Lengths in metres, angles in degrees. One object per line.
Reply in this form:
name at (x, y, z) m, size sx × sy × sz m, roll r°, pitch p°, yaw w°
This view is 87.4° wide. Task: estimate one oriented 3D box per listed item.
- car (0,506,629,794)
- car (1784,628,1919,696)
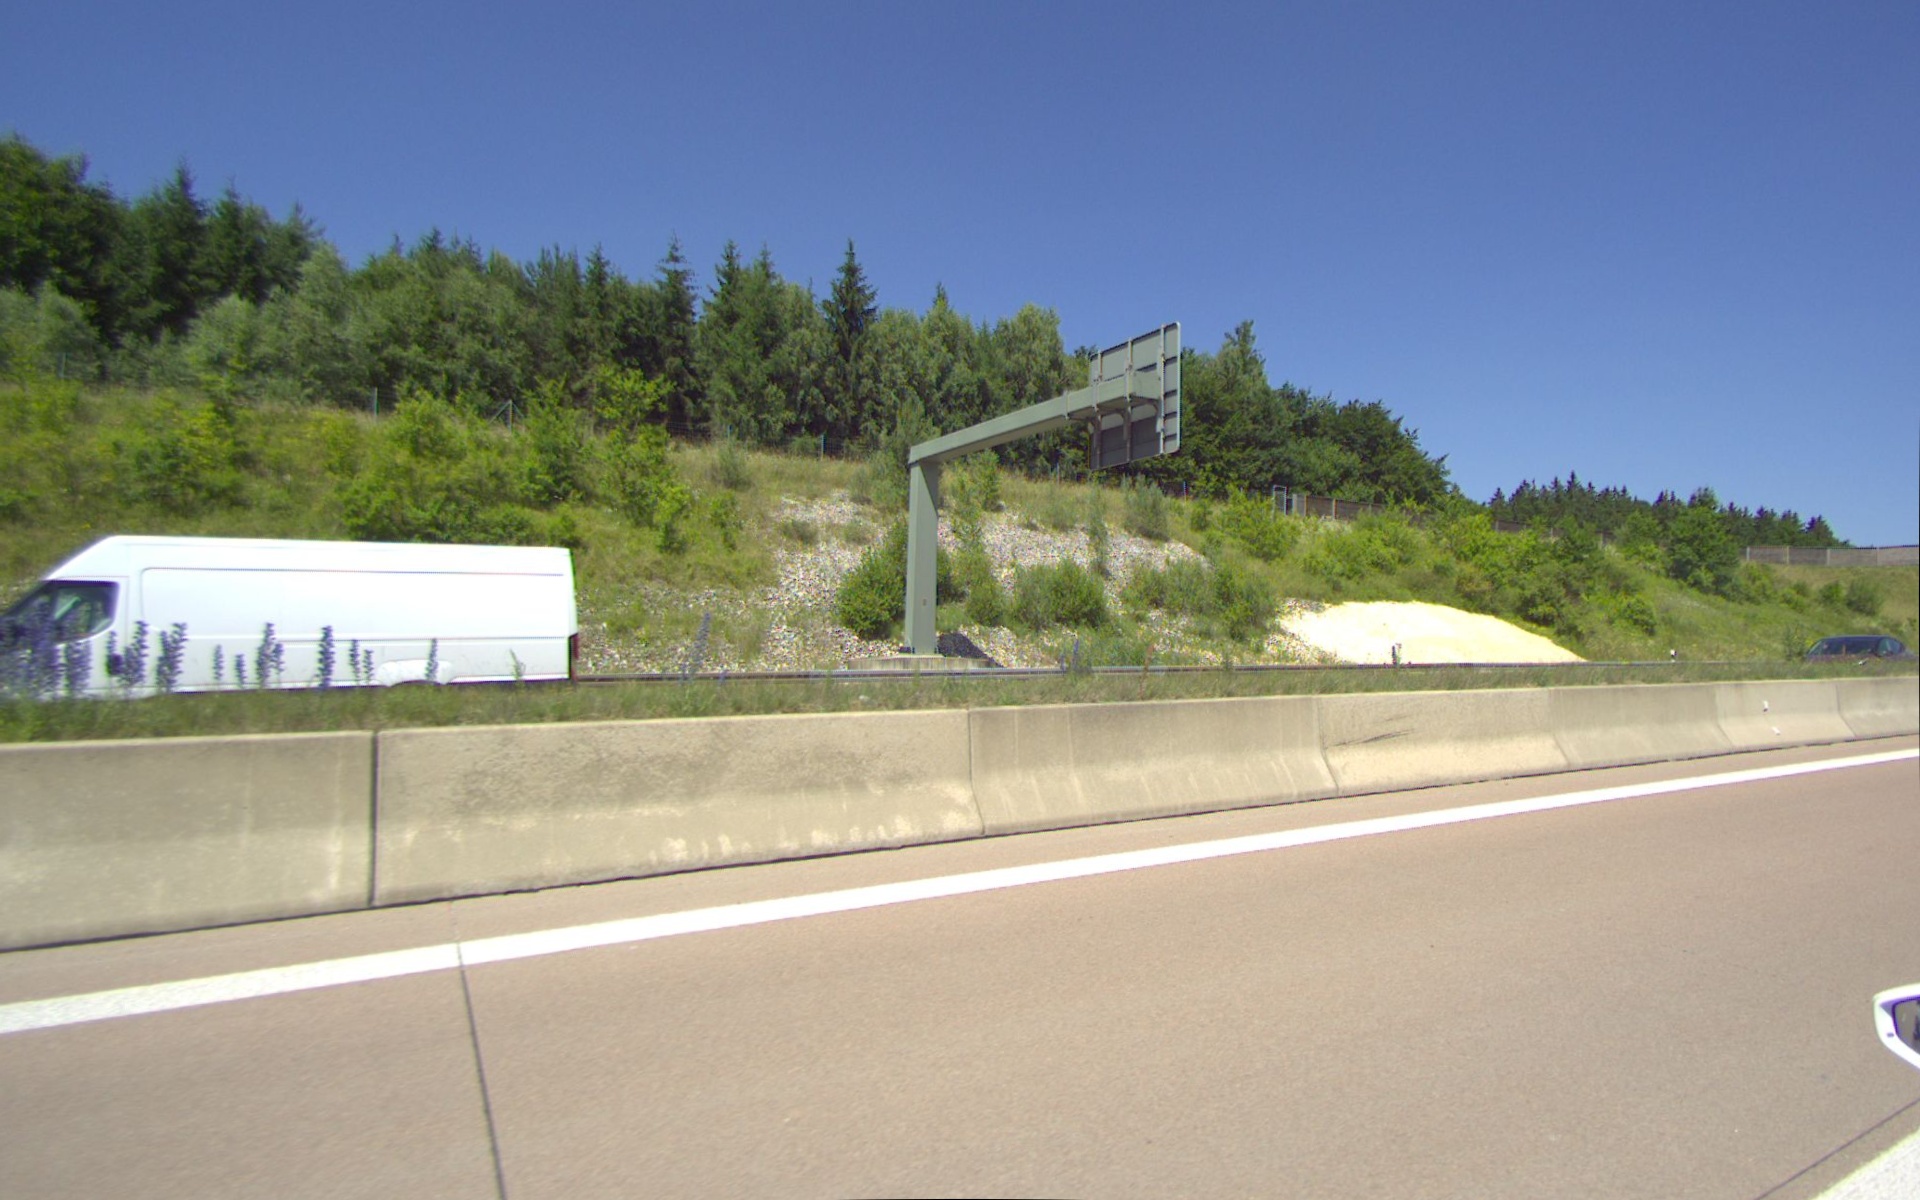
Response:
car at (-8.309, 0.530, 12.898) m, size 7.413 × 3.009 × 2.398 m, roll 0°, pitch 0°, yaw -30°
car at (25.346, 1.675, 28.247) m, size 4.922 × 1.615 × 1.880 m, roll 0°, pitch 1°, yaw -32°
